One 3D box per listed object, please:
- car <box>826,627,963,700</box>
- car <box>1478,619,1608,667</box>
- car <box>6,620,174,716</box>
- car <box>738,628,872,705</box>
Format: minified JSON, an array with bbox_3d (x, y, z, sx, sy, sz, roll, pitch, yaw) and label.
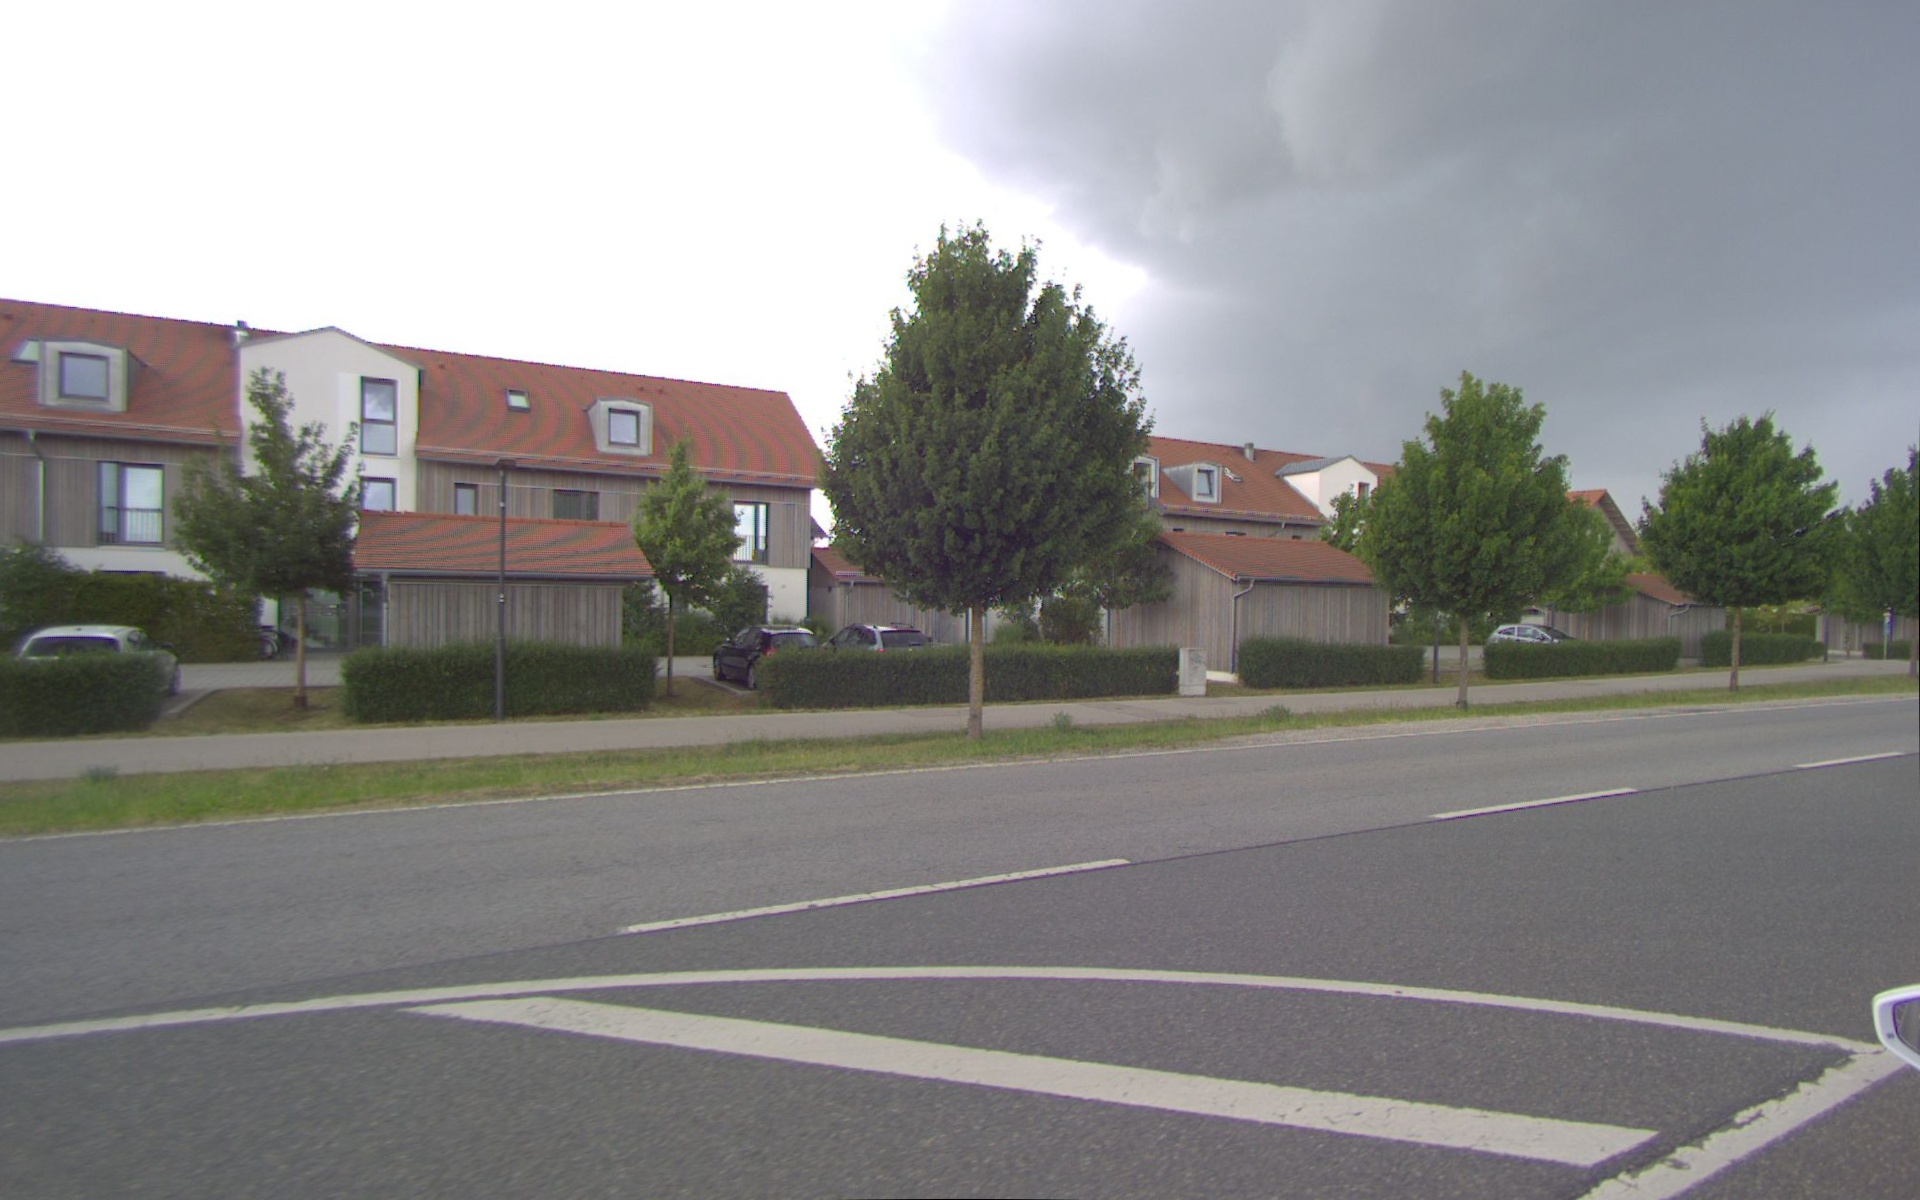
[{"bbox_3d":[-1.714,1.494,24.897,1.975,1.639,3.971,1,-1,-28],"label":"car"},{"bbox_3d":[22.922,1.637,39.647,1.975,1.577,3.970,1,2,-28],"label":"car"},{"bbox_3d":[-15.194,1.110,17.725,1.545,1.509,3.498,1,-1,-29],"label":"car"},{"bbox_3d":[-3.756,1.488,23.811,1.975,1.639,3.971,1,-1,-28],"label":"car"}]
